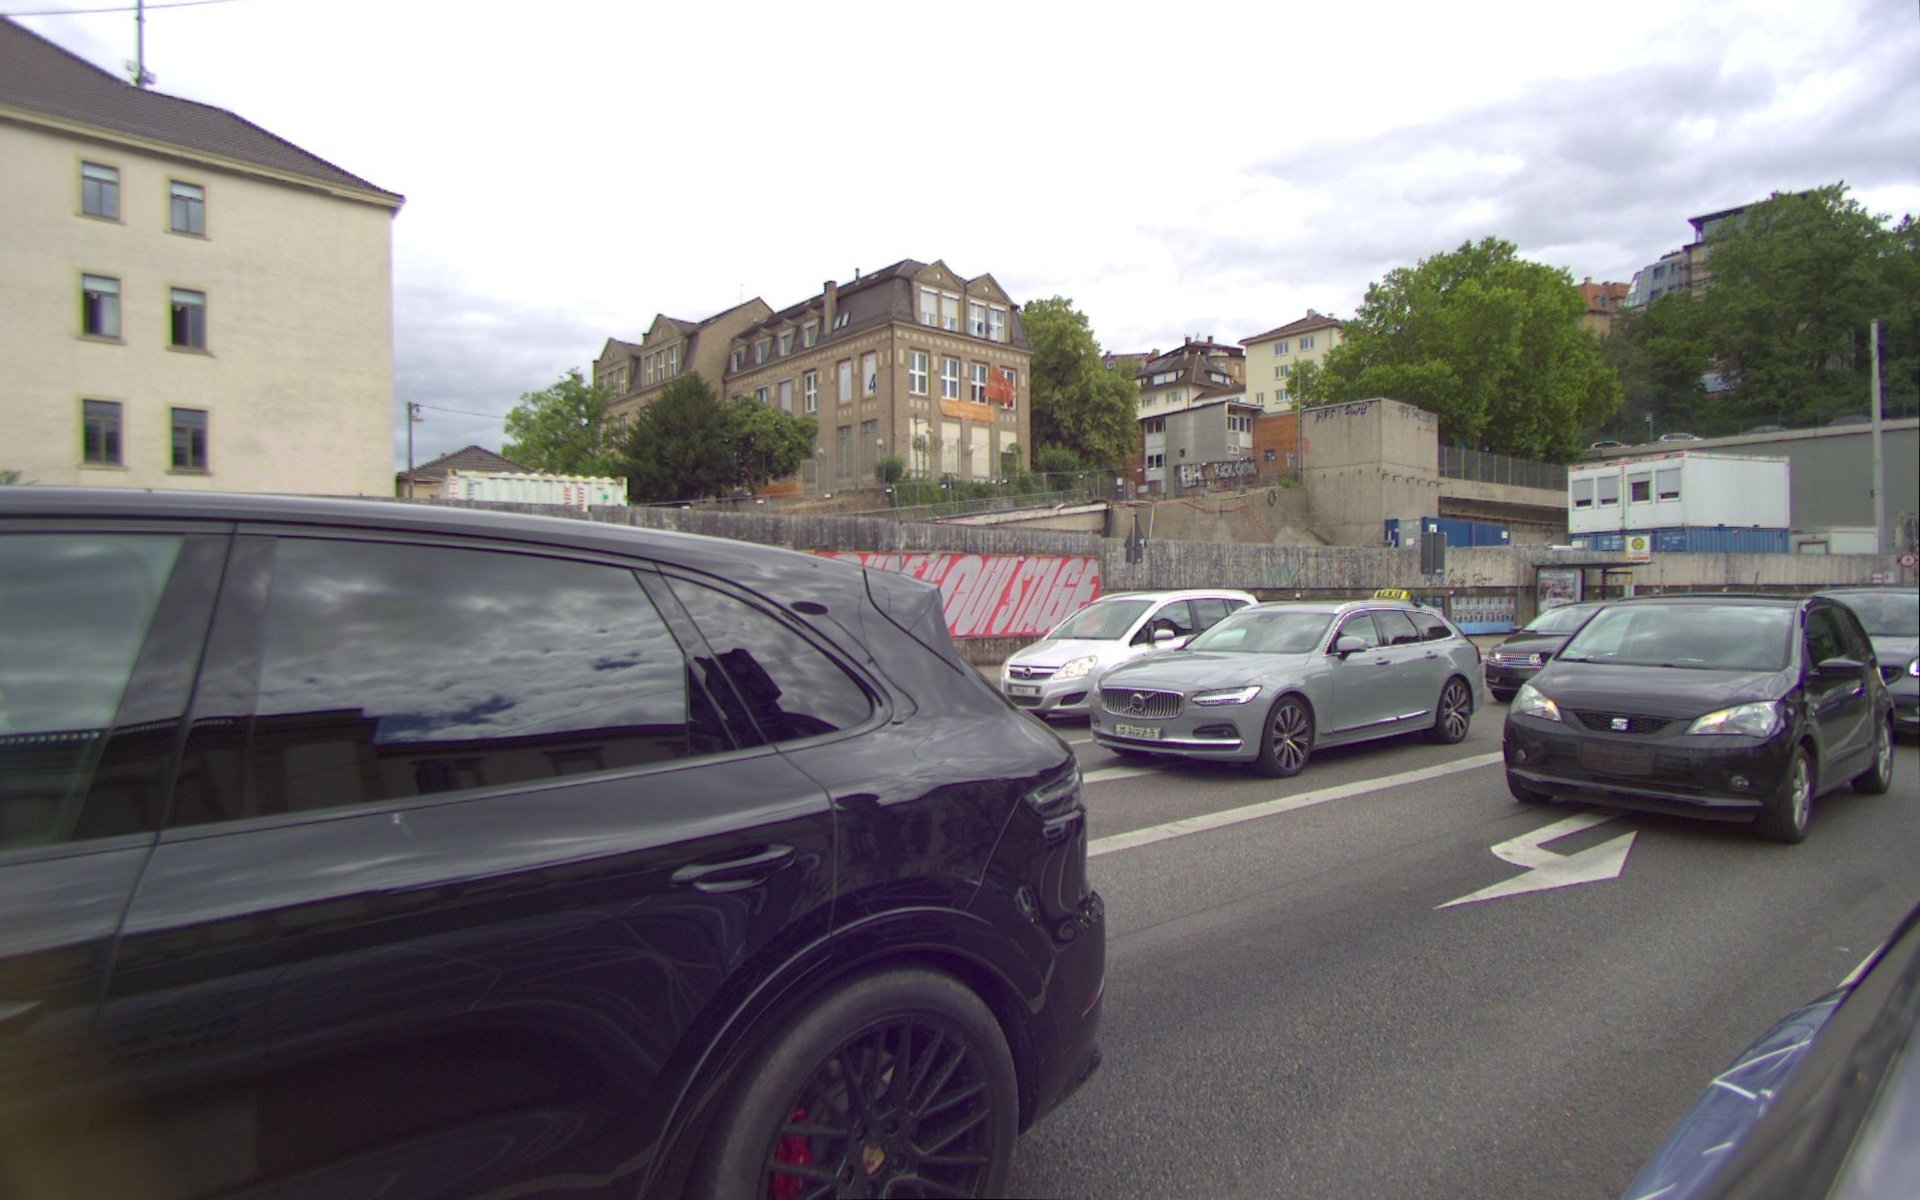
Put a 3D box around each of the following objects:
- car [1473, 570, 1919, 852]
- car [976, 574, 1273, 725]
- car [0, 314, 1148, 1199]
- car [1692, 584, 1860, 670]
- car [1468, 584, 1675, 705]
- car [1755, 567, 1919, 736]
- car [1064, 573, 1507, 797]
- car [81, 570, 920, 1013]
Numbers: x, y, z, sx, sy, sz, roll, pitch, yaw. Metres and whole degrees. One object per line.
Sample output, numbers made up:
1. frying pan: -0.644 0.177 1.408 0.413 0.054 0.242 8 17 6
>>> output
1. car: 5.417 0.547 7.236 3.635 1.476 1.828 -2 1 -40
2. car: 2.262 0.527 13.165 4.142 1.645 1.676 -2 -1 -45
3. car: -1.824 0.542 1.718 4.405 1.736 1.828 -2 1 -40
4. car: 14.969 0.417 18.509 3.740 1.383 1.679 -2 1 -40
5. car: 8.465 0.529 13.973 2.666 1.449 1.665 -2 1 -40
6. car: 10.007 0.454 10.744 3.510 1.563 1.720 -1 1 -39
7. car: 3.316 0.584 9.765 4.723 1.645 1.828 -2 1 -40
8. car: -2.294 0.675 5.700 3.929 1.645 1.679 -2 1 -40
